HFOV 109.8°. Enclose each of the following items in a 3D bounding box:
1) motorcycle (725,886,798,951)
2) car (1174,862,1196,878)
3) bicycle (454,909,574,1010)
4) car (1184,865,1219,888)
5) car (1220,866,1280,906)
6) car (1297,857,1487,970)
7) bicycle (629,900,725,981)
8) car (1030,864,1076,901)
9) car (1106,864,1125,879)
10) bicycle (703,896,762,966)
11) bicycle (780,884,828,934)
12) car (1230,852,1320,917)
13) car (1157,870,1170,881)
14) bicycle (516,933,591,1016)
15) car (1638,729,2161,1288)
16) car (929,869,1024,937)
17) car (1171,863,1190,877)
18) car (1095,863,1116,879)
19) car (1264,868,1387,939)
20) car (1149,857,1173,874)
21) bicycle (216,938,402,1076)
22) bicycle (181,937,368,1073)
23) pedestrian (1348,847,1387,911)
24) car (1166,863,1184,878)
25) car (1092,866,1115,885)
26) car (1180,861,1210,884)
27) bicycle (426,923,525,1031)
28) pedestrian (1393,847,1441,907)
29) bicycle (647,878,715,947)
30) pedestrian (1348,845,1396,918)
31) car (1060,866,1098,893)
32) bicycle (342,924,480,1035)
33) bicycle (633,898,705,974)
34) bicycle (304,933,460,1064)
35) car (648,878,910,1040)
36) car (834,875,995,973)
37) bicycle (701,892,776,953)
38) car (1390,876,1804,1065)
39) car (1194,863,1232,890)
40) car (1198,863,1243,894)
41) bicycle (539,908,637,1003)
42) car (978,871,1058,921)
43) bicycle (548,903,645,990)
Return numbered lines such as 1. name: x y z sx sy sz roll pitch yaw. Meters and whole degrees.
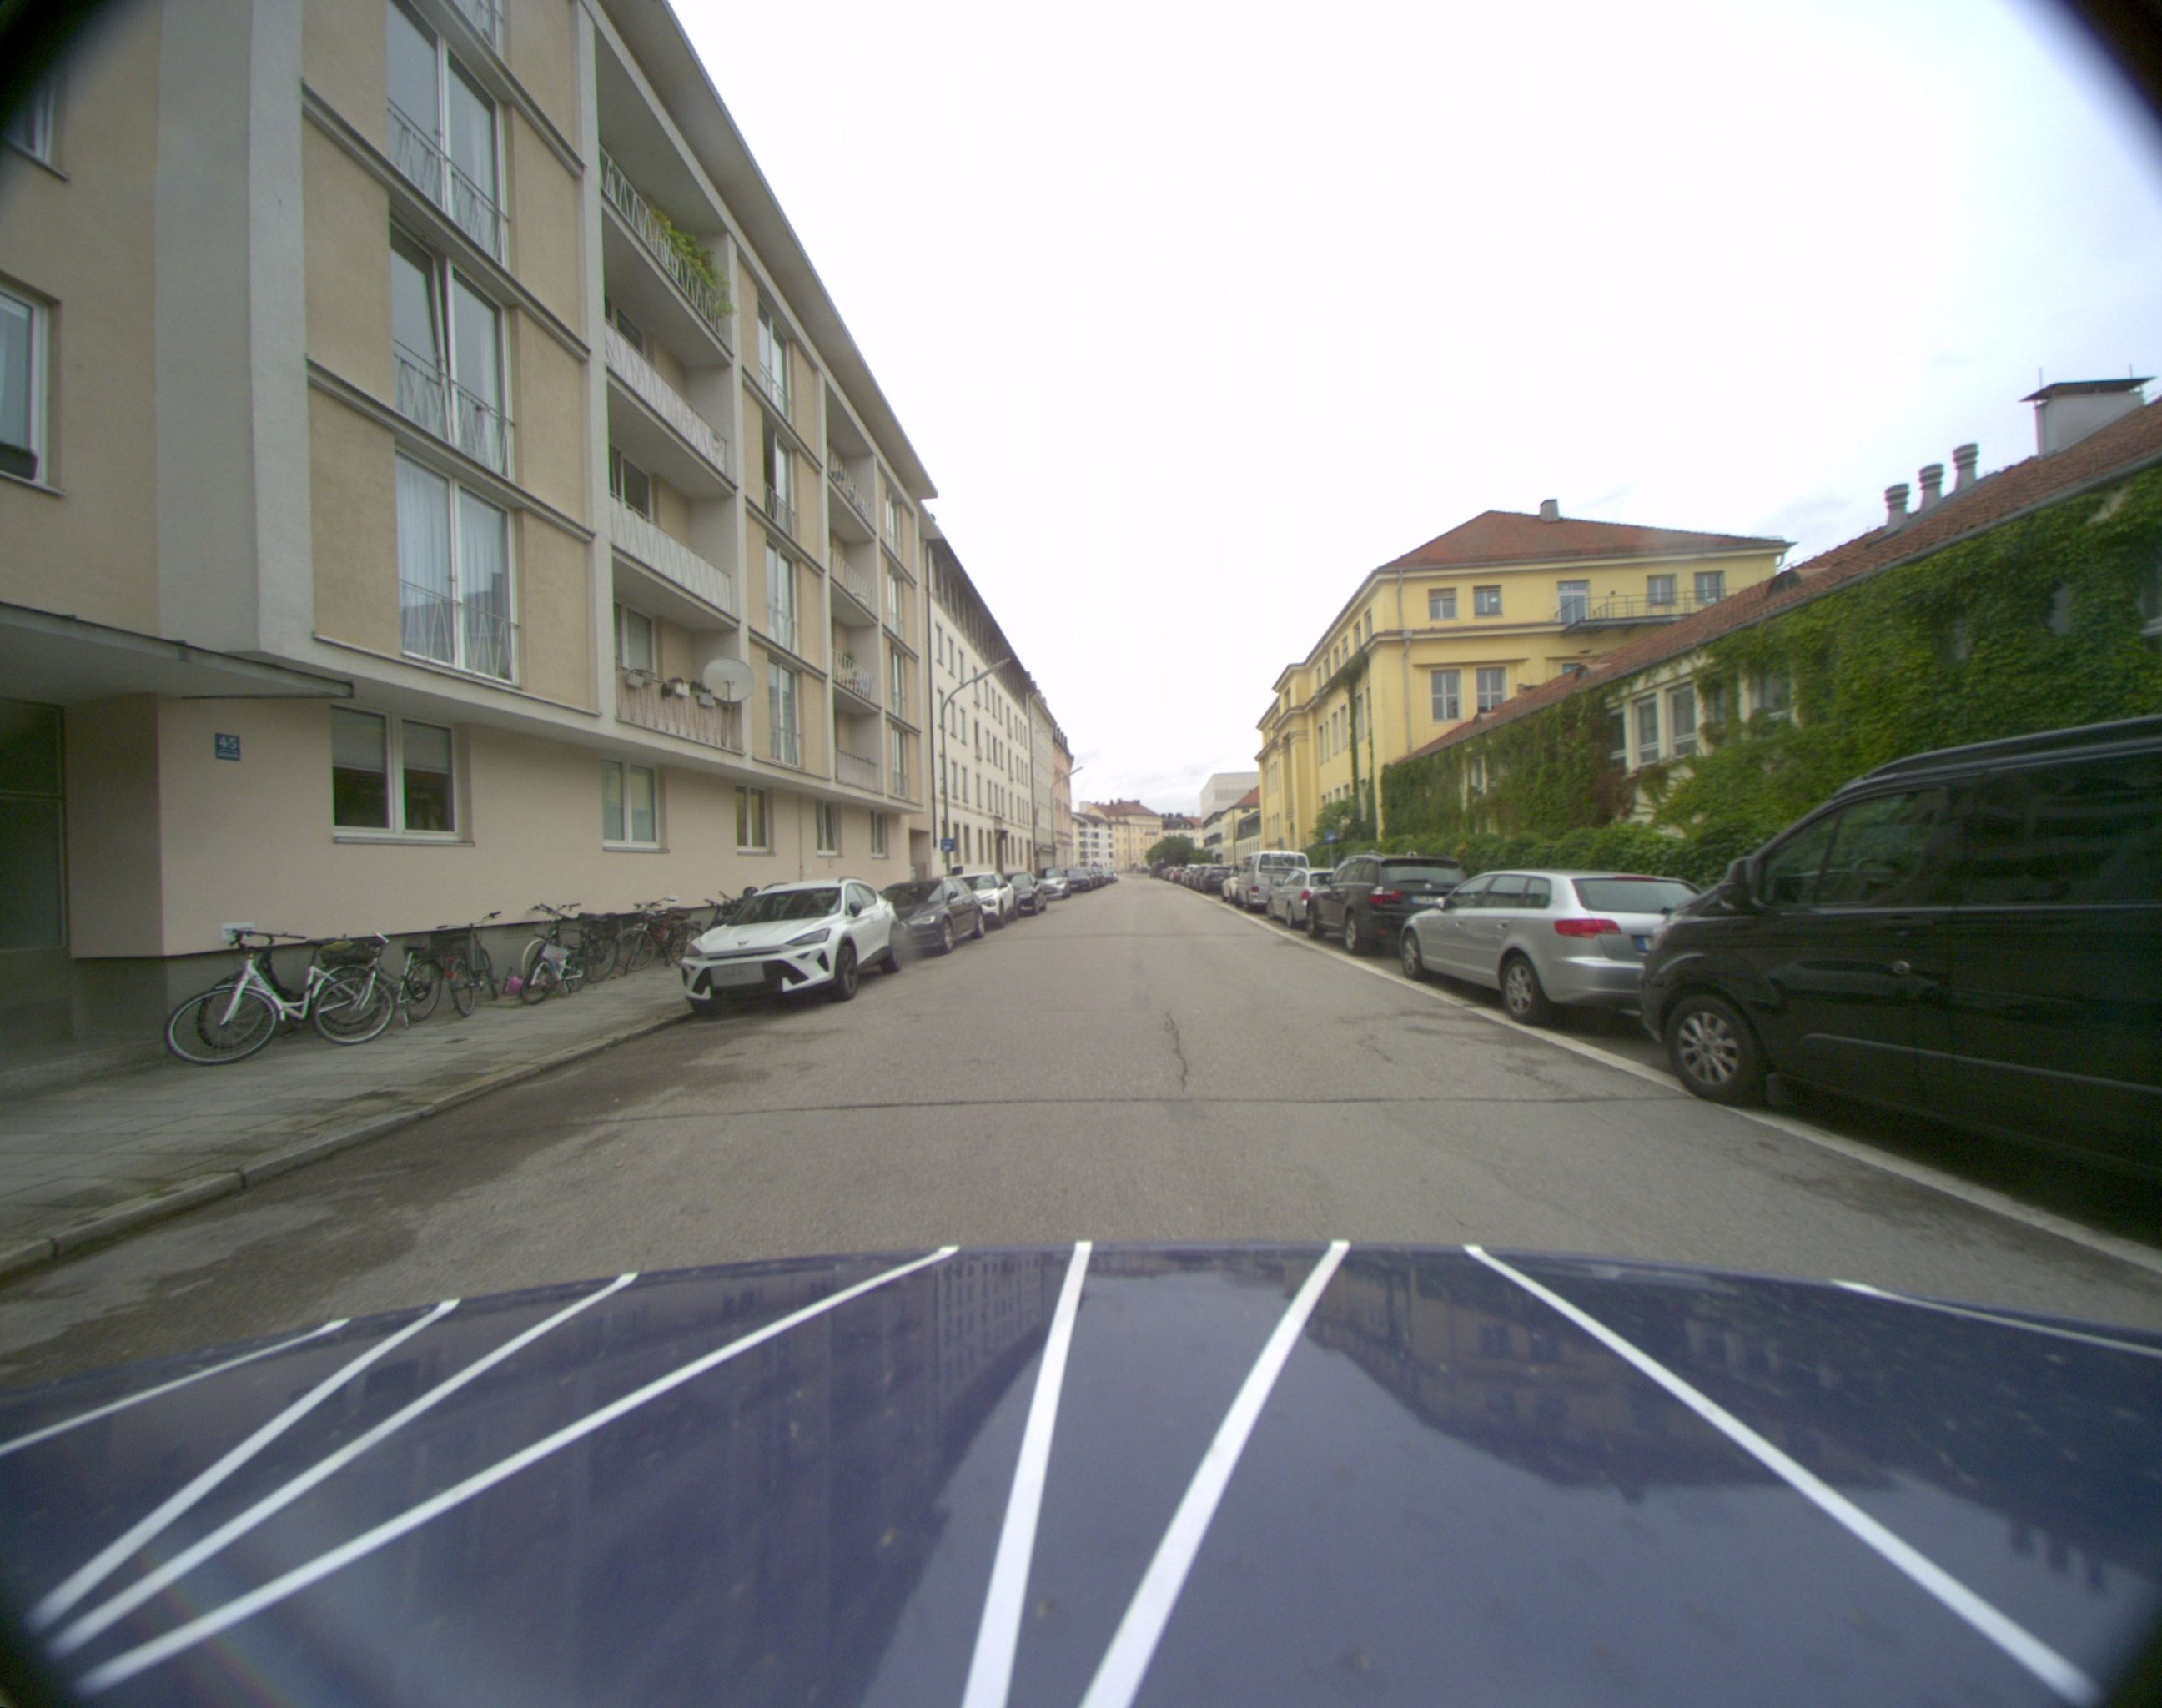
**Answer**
1. motorcycle: -7.089 1.400 16.974 0.637 1.263 2.041 -1 0 3
2. car: 9.314 1.417 68.162 1.737 1.430 3.781 1 -1 5
3. bicycle: -7.870 1.428 10.612 0.447 1.195 1.395 2 1 11
4. car: 7.955 1.474 50.483 1.777 1.400 4.603 2 -1 3
5. car: 6.415 1.173 29.184 1.670 1.401 3.560 1 -1 3
6. car: 5.173 0.891 13.326 1.706 1.597 4.492 1 0 4
7. bicycle: -6.869 1.437 13.001 0.397 1.195 1.569 2 1 20
8. car: -1.273 1.324 36.445 1.618 1.507 3.382 -6 -1 6
9. car: 4.291 2.130 93.517 2.000 1.563 4.493 -4 -1 5
10. bicycle: -6.717 1.457 14.687 0.448 1.195 1.370 1 1 2
11. bicycle: -6.992 1.369 19.240 0.515 1.150 1.601 -1 0 3
12. car: 6.007 0.896 24.128 1.897 1.788 4.883 2 -1 5
13. car: 12.111 3.101 111.779 1.673 1.508 3.949 -1 -1 5
14. bicycle: -6.951 1.564 10.062 0.448 0.889 1.196 1 1 -16
15. car: 4.774 0.559 2.840 1.930 1.967 4.622 1 -1 -1
16. car: -2.735 1.244 20.766 1.706 1.460 4.121 -6 -1 3
17. car: 10.607 1.665 80.930 1.816 1.389 4.022 1 -1 5
18. car: 2.524 1.730 77.141 1.724 1.457 4.195 -4 -1 6
19. car: 5.736 1.086 18.419 1.807 1.369 4.493 3 0 5
20. car: 12.903 1.837 123.304 2.847 2.536 6.893 -1 -1 -2
21. bicycle: -7.696 1.474 7.654 0.370 1.095 1.388 1 1 5
22. bicycle: -8.080 1.470 7.687 0.370 1.095 1.347 1 1 5
23. pedestrian: 7.520 0.648 19.960 0.684 1.642 0.872 -2 0 3
24. car: 10.651 1.851 86.103 1.773 1.545 4.212 1 -1 5
25. car: 2.138 1.996 70.264 1.768 1.531 4.002 -5 -1 5
26. car: 8.715 1.381 58.313 1.786 1.631 4.301 2 -1 2
27. bicycle: -7.345 1.458 9.273 0.396 1.095 1.300 1 1 -12
28. pedestrian: 8.636 0.584 19.552 0.844 1.485 0.873 -2 0 6
29. bicycle: -7.543 1.075 14.389 0.393 1.195 1.343 2 1 10
30. pedestrian: 7.176 0.677 18.767 0.844 1.744 0.872 -2 0 5
31. car: -0.071 1.488 45.631 1.877 1.439 4.702 -3 -1 3
32. bicycle: -7.981 1.454 9.116 0.370 1.095 1.347 1 1 5
33. bicycle: -7.279 1.426 13.470 0.418 1.195 1.285 1 1 8
34. bicycle: -7.219 1.450 7.920 0.392 1.095 1.346 1 1 -1
35. car: -3.723 1.195 10.310 1.780 1.513 4.304 -6 -1 -1
36. car: -3.174 1.296 15.580 1.776 1.420 4.695 -7 -1 5
37. bicycle: -7.021 1.403 15.604 1.342 1.195 0.393 1 1 -9
38. car: 4.854 0.968 7.963 1.710 1.357 4.003 2 -1 3
39. car: 7.637 1.283 44.353 1.773 1.494 4.275 1 -1 4
40. car: 7.171 1.238 39.333 1.721 1.472 4.221 2 -1 3
41. bicycle: -7.140 1.438 11.059 0.413 1.195 1.284 2 1 11
42. car: -1.979 1.328 25.362 1.831 1.373 4.493 -4 -1 5
43. bicycle: -7.625 1.427 12.027 0.447 1.195 1.395 2 1 11
